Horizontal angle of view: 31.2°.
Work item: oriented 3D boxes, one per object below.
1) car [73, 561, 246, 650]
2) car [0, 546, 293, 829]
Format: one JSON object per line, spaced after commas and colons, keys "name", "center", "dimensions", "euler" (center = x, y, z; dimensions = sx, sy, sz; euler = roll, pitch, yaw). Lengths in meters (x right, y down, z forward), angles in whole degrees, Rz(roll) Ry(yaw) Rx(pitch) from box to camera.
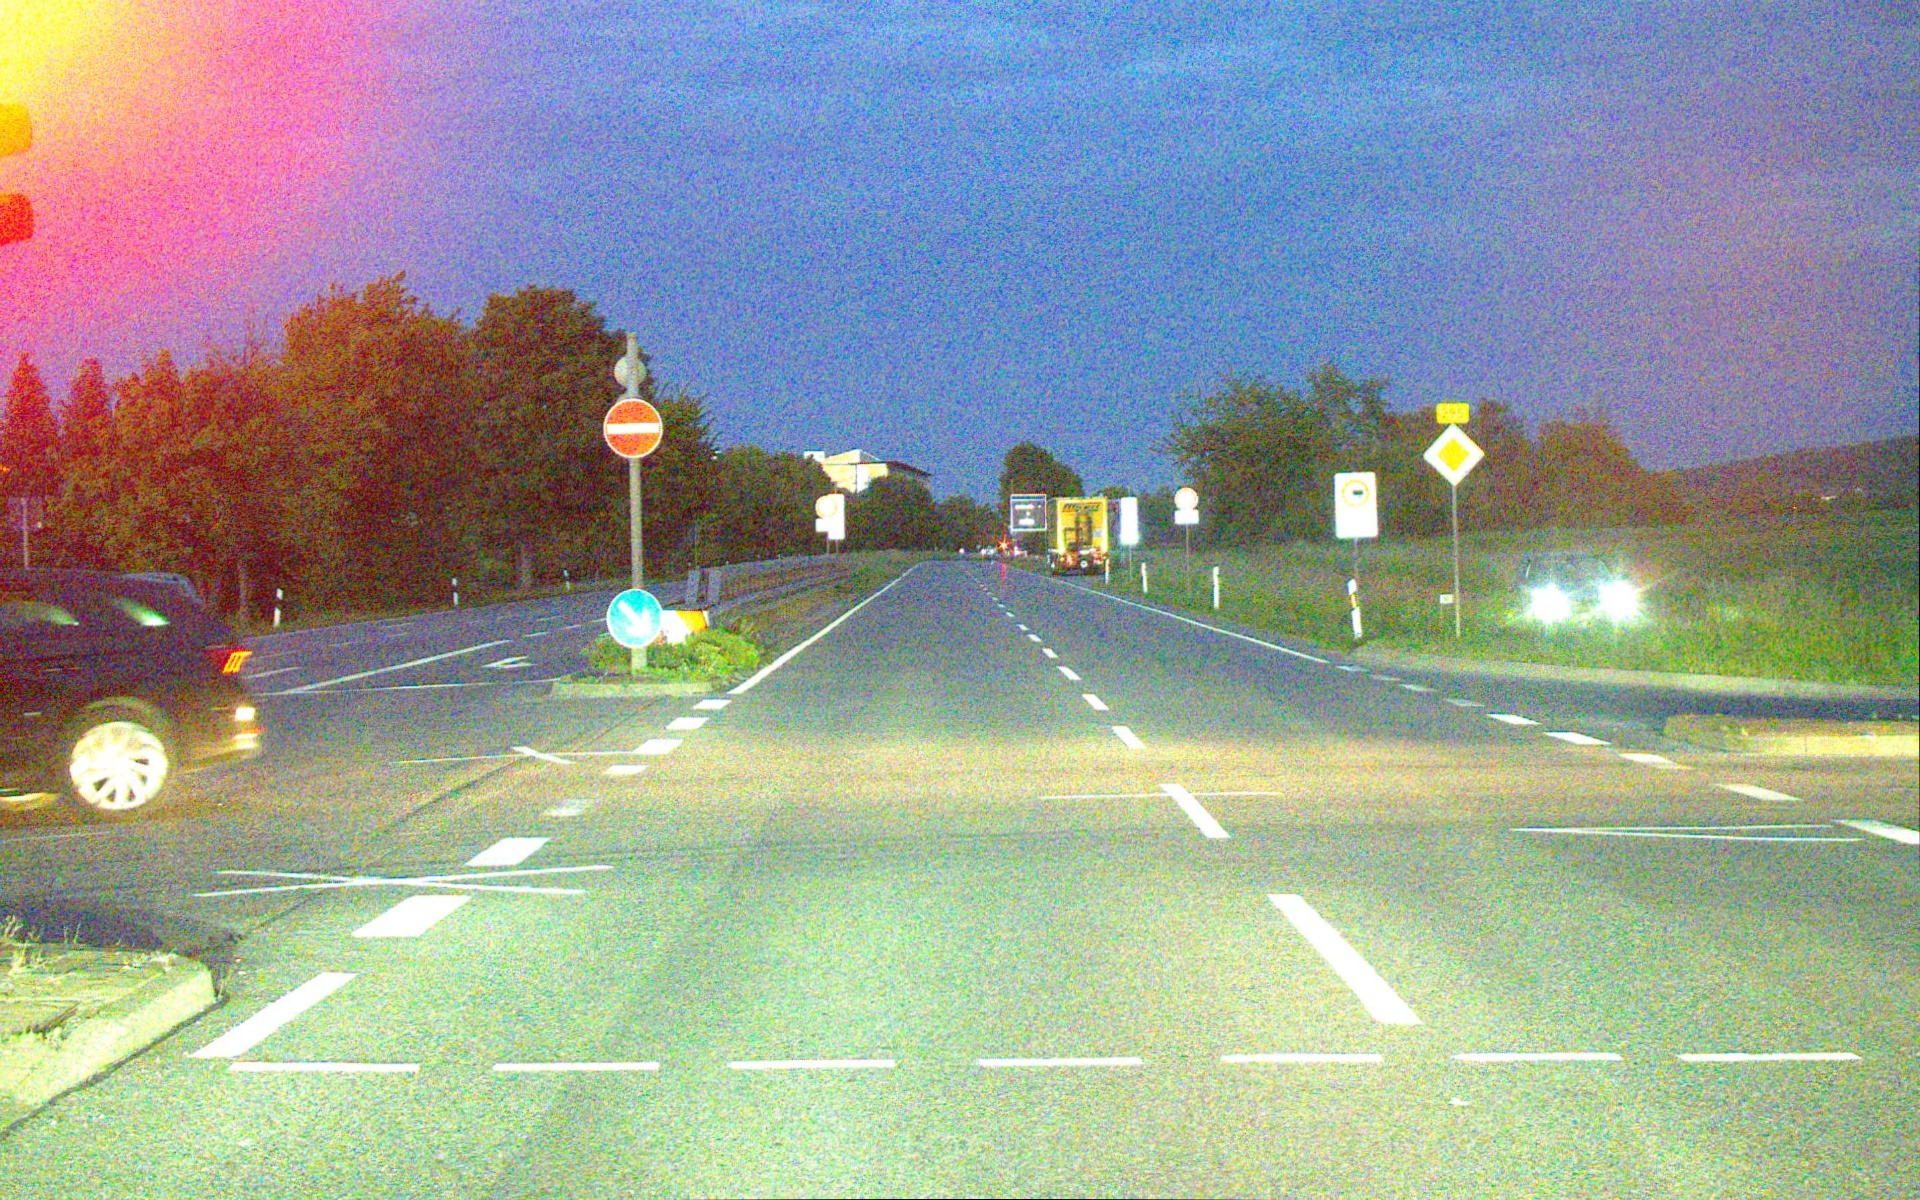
{"name": "car", "center": [-13.385, 0.060, 57.724], "dimensions": [1.993, 1.382, 4.000], "euler": [-1, 1, -1]}
{"name": "car", "center": [-6.331, 0.522, 19.353], "dimensions": [4.602, 1.515, 2.000], "euler": [-2, 1, -35]}
